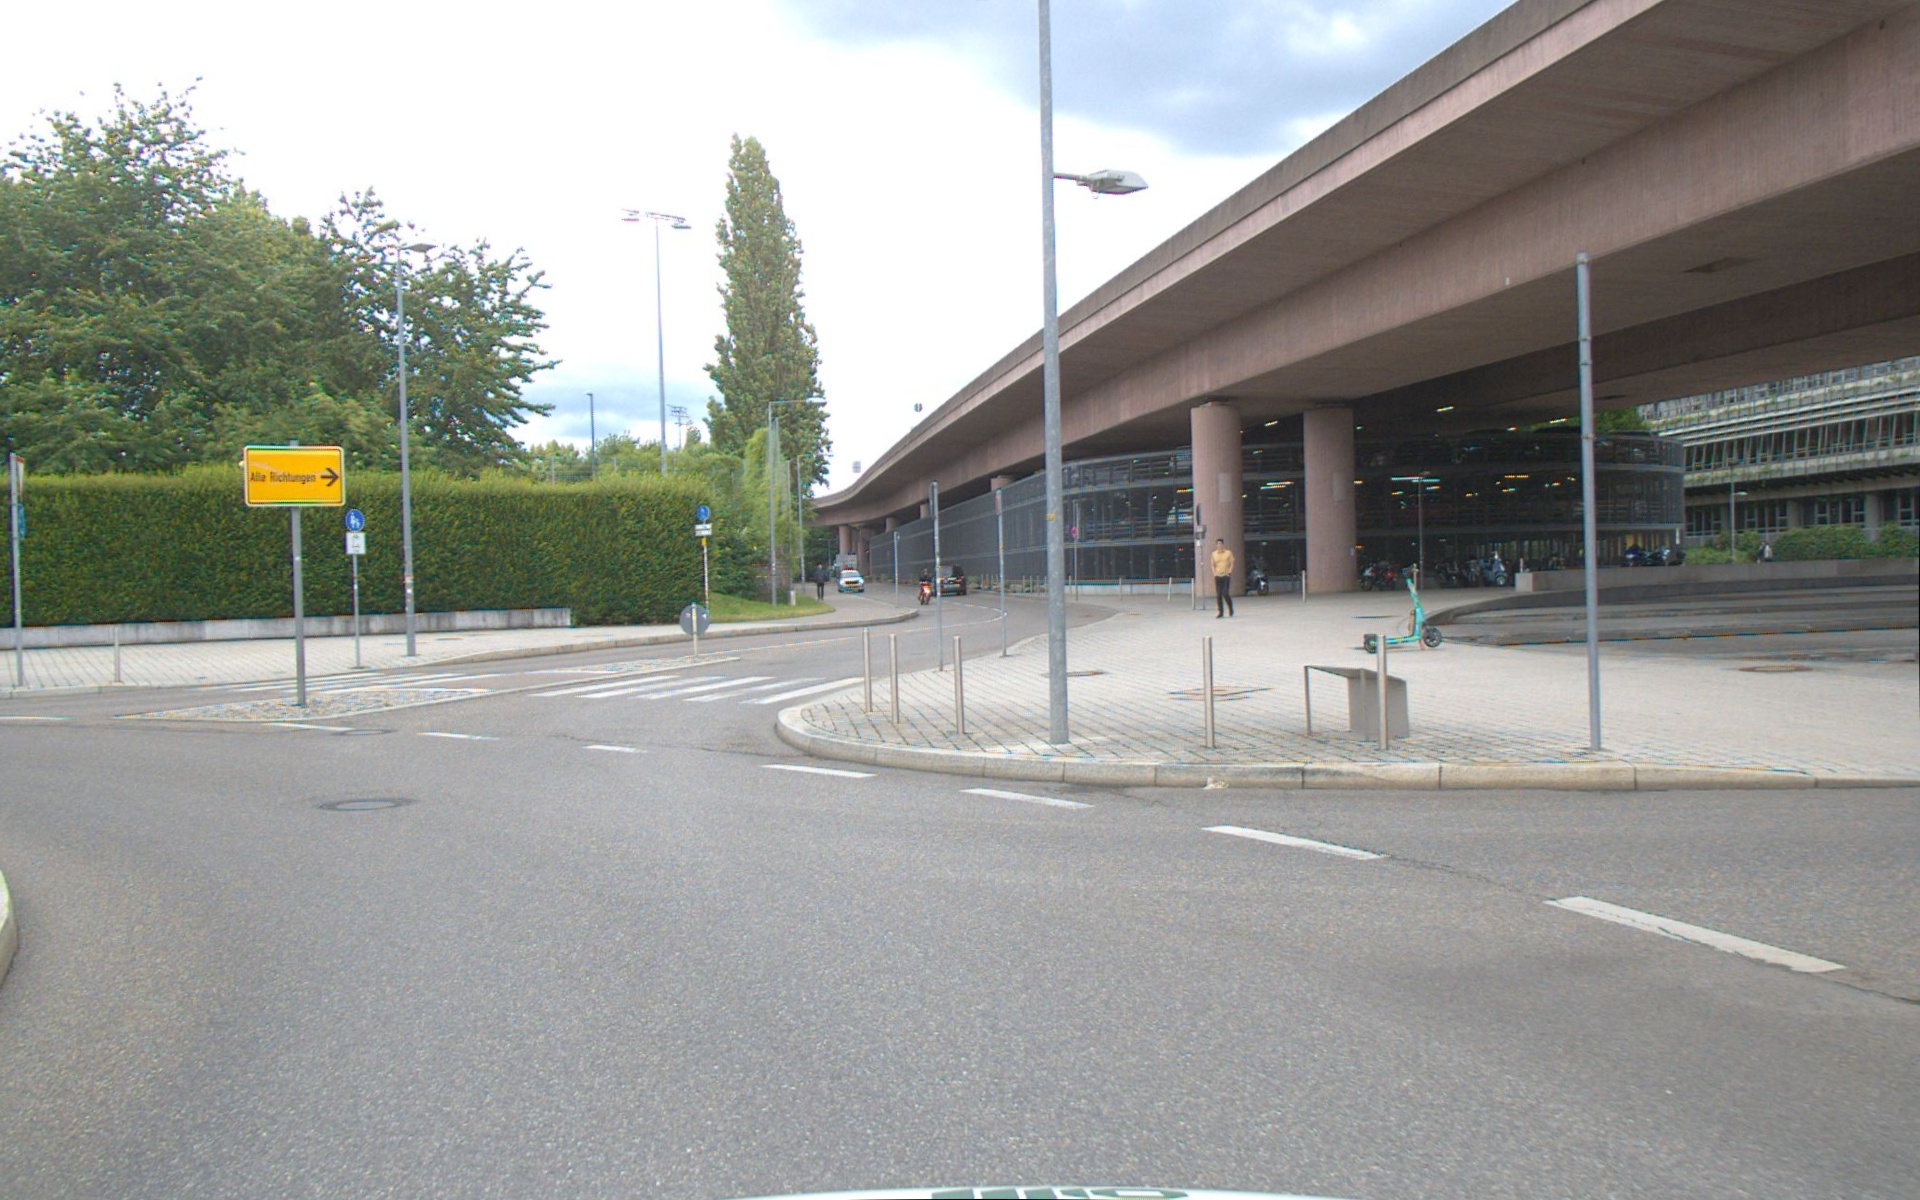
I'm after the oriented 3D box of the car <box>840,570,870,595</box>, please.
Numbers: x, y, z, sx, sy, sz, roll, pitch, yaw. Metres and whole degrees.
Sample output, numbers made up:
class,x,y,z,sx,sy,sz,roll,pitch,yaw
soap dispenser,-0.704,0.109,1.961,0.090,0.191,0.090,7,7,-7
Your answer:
class,x,y,z,sx,sy,sz,roll,pitch,yaw
car,-8.047,-1.340,126.441,1.830,1.712,4.396,-3,2,-9

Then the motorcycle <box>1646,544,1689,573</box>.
class,x,y,z,sx,sy,sz,roll,pitch,yaw
motorcycle,30.923,-1.832,72.329,0.659,1.241,2.360,-2,2,-6

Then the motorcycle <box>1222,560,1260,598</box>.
class,x,y,z,sx,sy,sz,roll,pitch,yaw
motorcycle,11.276,-0.841,66.330,0.633,1.480,1.750,-3,2,-23

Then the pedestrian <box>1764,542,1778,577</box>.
class,x,y,z,sx,sy,sz,roll,pitch,yaw
pedestrian,47.872,-2.372,97.683,0.516,2.049,0.574,-1,0,0

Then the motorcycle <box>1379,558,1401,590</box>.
class,x,y,z,sx,sy,sz,roll,pitch,yaw
motorcycle,17.935,-1.085,68.981,0.812,1.241,2.081,-2,2,14

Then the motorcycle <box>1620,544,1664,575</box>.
class,x,y,z,sx,sy,sz,roll,pitch,yaw
motorcycle,29.563,-1.763,71.725,0.659,1.297,2.360,-2,2,-6

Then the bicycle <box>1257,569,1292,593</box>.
class,x,y,z,sx,sy,sz,roll,pitch,yaw
bicycle,13.658,-0.810,71.860,1.441,0.993,0.452,-2,2,18

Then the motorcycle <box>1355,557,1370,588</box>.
class,x,y,z,sx,sy,sz,roll,pitch,yaw
motorcycle,16.945,-1.157,69.623,0.509,1.241,1.151,-2,2,10

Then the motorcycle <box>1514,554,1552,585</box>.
class,x,y,z,sx,sy,sz,roll,pitch,yaw
motorcycle,24.242,-1.314,70.015,0.659,1.241,2.076,-2,2,-7

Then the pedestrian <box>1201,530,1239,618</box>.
class,x,y,z,sx,sy,sz,roll,pitch,yaw
pedestrian,6.185,-0.631,39.401,0.765,2.048,1.040,-2,2,5

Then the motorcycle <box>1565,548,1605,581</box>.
class,x,y,z,sx,sy,sz,roll,pitch,yaw
motorcycle,26.196,-1.505,69.353,0.659,1.308,2.076,-2,2,-7

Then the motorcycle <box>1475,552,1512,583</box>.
class,x,y,z,sx,sy,sz,roll,pitch,yaw
motorcycle,22.437,-1.371,69.608,0.659,1.241,2.076,-2,2,-7

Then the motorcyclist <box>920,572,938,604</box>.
class,x,y,z,sx,sy,sz,roll,pitch,yaw
motorcyclist,-1.466,-0.565,78.095,0.747,1.444,0.869,-2,2,-4

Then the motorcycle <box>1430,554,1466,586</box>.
class,x,y,z,sx,sy,sz,roll,pitch,yaw
motorcycle,20.451,-1.268,69.318,0.659,1.241,2.076,-2,2,-7

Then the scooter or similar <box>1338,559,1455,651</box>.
class,x,y,z,sx,sy,sz,roll,pitch,yaw
scooter or similar,6.567,0.070,24.925,1.609,1.318,0.519,-2,2,8

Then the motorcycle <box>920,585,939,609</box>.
class,x,y,z,sx,sy,sz,roll,pitch,yaw
motorcycle,-1.459,-0.147,78.165,0.731,1.040,1.955,-2,2,-4

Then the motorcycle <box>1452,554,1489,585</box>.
class,x,y,z,sx,sy,sz,roll,pitch,yaw
motorcycle,21.413,-1.290,69.387,0.659,1.241,2.076,-2,2,-7

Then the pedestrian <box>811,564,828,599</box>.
class,x,y,z,sx,sy,sz,roll,pitch,yaw
pedestrian,-7.382,-0.968,86.770,0.788,1.811,0.919,-2,2,-5

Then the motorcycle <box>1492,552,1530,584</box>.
class,x,y,z,sx,sy,sz,roll,pitch,yaw
motorcycle,23.218,-1.347,69.743,0.659,1.308,2.076,-2,2,-7

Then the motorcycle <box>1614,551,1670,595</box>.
class,x,y,z,sx,sy,sz,roll,pitch,yaw
motorcycle,21.439,-0.852,51.980,1.914,1.286,0.543,-3,2,-30

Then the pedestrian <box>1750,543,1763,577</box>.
class,x,y,z,sx,sy,sz,roll,pitch,yaw
pedestrian,47.290,-2.368,98.198,0.516,2.049,0.574,-1,0,0

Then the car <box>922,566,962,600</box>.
class,x,y,z,sx,sy,sz,roll,pitch,yaw
car,-1.030,-0.985,94.378,1.805,1.741,3.700,-2,2,-7

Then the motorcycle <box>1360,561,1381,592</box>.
class,x,y,z,sx,sy,sz,roll,pitch,yaw
motorcycle,16.296,-0.936,65.658,0.510,1.191,1.148,-1,0,28
